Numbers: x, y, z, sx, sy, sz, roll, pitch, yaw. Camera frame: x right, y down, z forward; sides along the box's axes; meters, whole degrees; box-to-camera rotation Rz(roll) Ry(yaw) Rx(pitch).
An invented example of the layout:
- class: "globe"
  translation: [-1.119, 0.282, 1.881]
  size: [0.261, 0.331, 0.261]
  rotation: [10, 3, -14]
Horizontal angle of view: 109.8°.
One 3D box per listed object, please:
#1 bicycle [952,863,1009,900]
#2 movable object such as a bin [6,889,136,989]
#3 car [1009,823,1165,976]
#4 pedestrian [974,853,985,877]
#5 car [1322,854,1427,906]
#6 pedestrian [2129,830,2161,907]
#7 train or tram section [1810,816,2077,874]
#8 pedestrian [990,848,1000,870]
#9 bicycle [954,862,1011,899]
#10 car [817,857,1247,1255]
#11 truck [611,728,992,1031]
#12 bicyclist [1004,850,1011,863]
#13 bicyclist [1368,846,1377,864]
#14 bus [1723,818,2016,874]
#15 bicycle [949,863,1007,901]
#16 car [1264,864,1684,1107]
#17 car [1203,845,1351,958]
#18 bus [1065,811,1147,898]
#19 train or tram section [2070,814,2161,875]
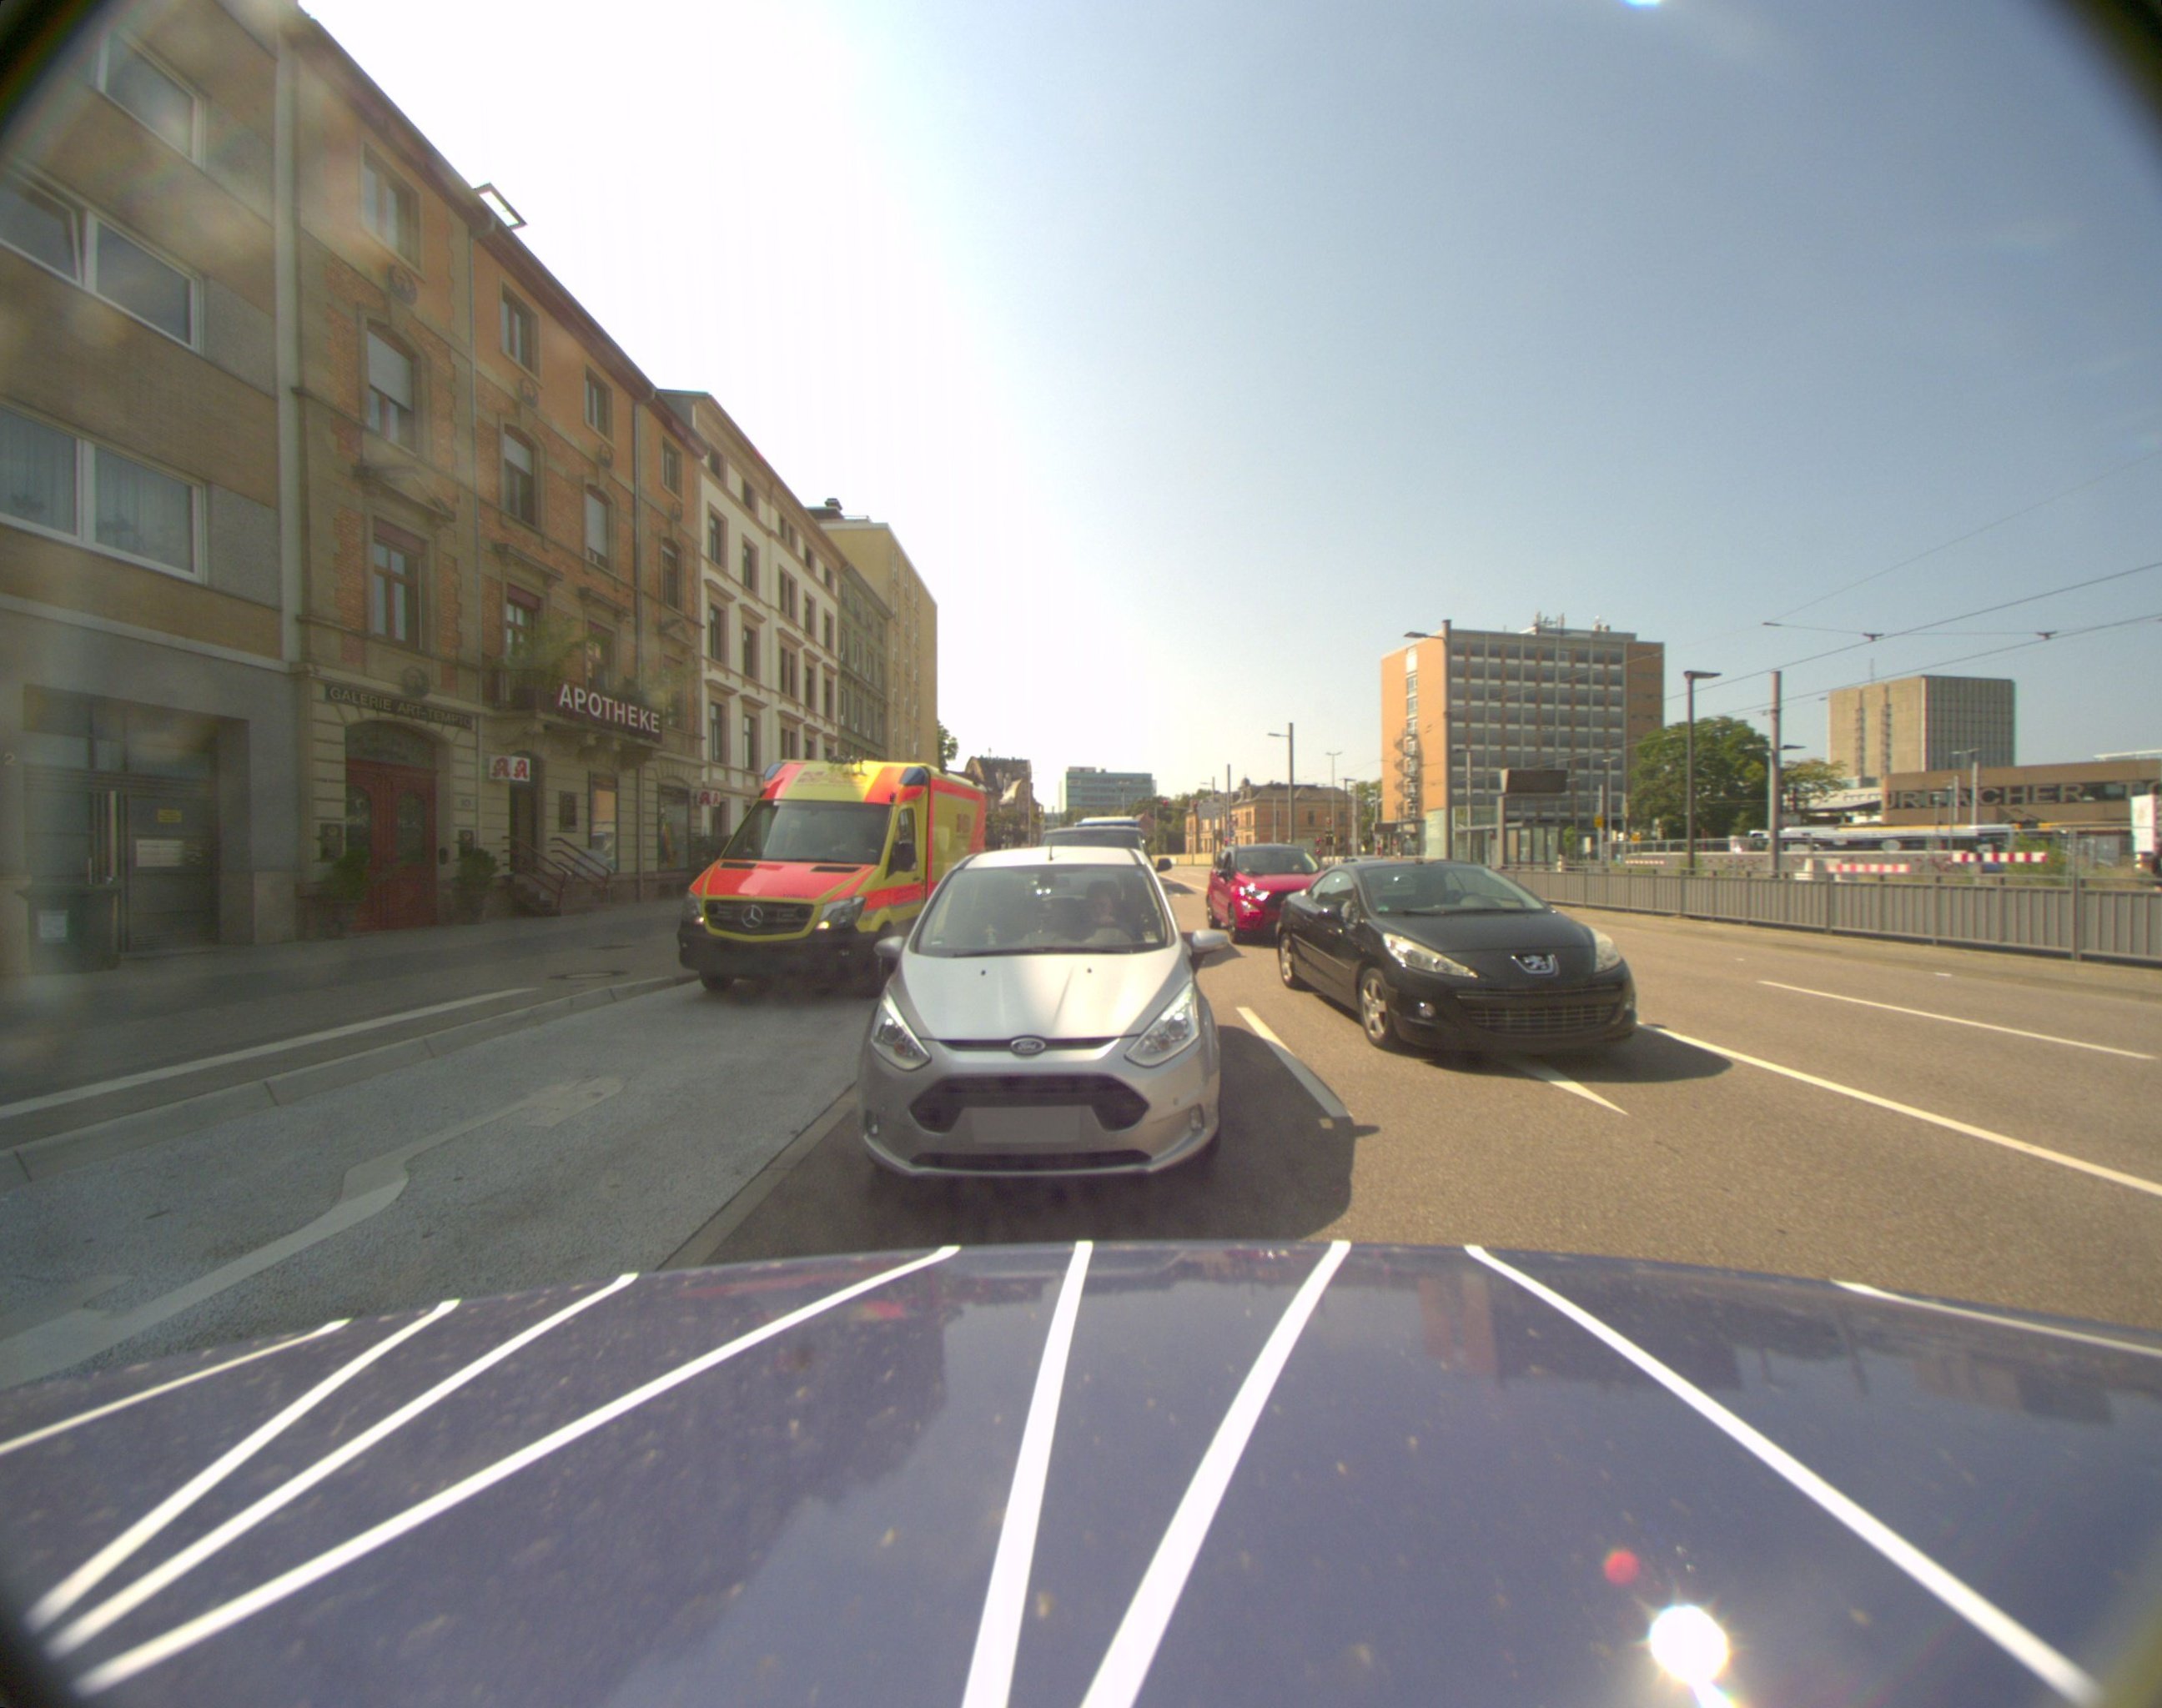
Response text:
- class: "bicycle"
  translation: [-3.405, 0.933, 25.775]
  size: [1.841, 1.196, 0.434]
  rotation: [-2, 1, 1]
- class: "movable object such as a bin"
  translation: [-11.978, 0.978, 9.040]
  size: [0.648, 1.098, 0.727]
  rotation: [1, 0, -24]
- class: "car"
  translation: [0.133, 0.582, 12.352]
  size: [1.998, 1.953, 4.816]
  rotation: [-1, 0, 1]
- class: "pedestrian"
  translation: [-7.489, 0.838, 56.078]
  size: [0.688, 1.748, 0.796]
  rotation: [1, 1, 0]
- class: "car"
  translation: [9.154, 0.736, 24.148]
  size: [1.750, 1.427, 4.573]
  rotation: [1, 1, 3]
- class: "pedestrian"
  translation: [25.207, 0.333, 17.616]
  size: [0.745, 1.777, 0.761]
  rotation: [0, 1, 1]
- class: "train or tram section"
  translation: [60.177, -0.552, 53.775]
  size: [2.004, 3.743, 12.331]
  rotation: [-1, 0, -45]
- class: "pedestrian"
  translation: [-6.404, 0.364, 56.852]
  size: [0.645, 1.619, 0.796]
  rotation: [1, 1, -1]
- class: "bicycle"
  translation: [-3.391, 0.919, 26.236]
  size: [1.841, 1.212, 0.434]
  rotation: [-2, 1, 1]
- class: "car"
  translation: [-0.153, 0.845, 5.114]
  size: [1.728, 1.579, 4.000]
  rotation: [-1, 0, 1]
- class: "truck"
  translation: [-2.995, 0.210, 10.238]
  size: [2.333, 2.754, 6.340]
  rotation: [2, 1, 4]
- class: "bicyclist"
  translation: [-8.648, 0.275, 89.267]
  size: [0.721, 1.577, 1.103]
  rotation: [-1, 0, 2]
- class: "bicyclist"
  translation: [31.704, 0.131, 82.624]
  size: [0.857, 1.891, 0.664]
  rotation: [-2, 1, 21]
- class: "bus"
  translation: [52.346, -0.412, 51.335]
  size: [3.357, 3.275, 13.371]
  rotation: [-3, 0, -45]
- class: "bicycle"
  translation: [-3.431, 0.937, 25.339]
  size: [1.841, 1.196, 0.434]
  rotation: [-2, 1, 1]
- class: "car"
  translation: [2.903, 0.845, 6.624]
  size: [1.692, 1.405, 3.801]
  rotation: [-2, 0, 1]
- class: "car"
  translation: [3.187, 0.691, 13.126]
  size: [1.634, 1.611, 3.968]
  rotation: [-2, 0, 2]
- class: "bus"
  translation: [1.404, 0.003, 34.260]
  size: [2.918, 3.119, 12.347]
  rotation: [-2, 0, 4]
- class: "train or tram section"
  translation: [68.885, -0.572, 45.034]
  size: [2.004, 3.743, 12.331]
  rotation: [-1, 0, -45]
